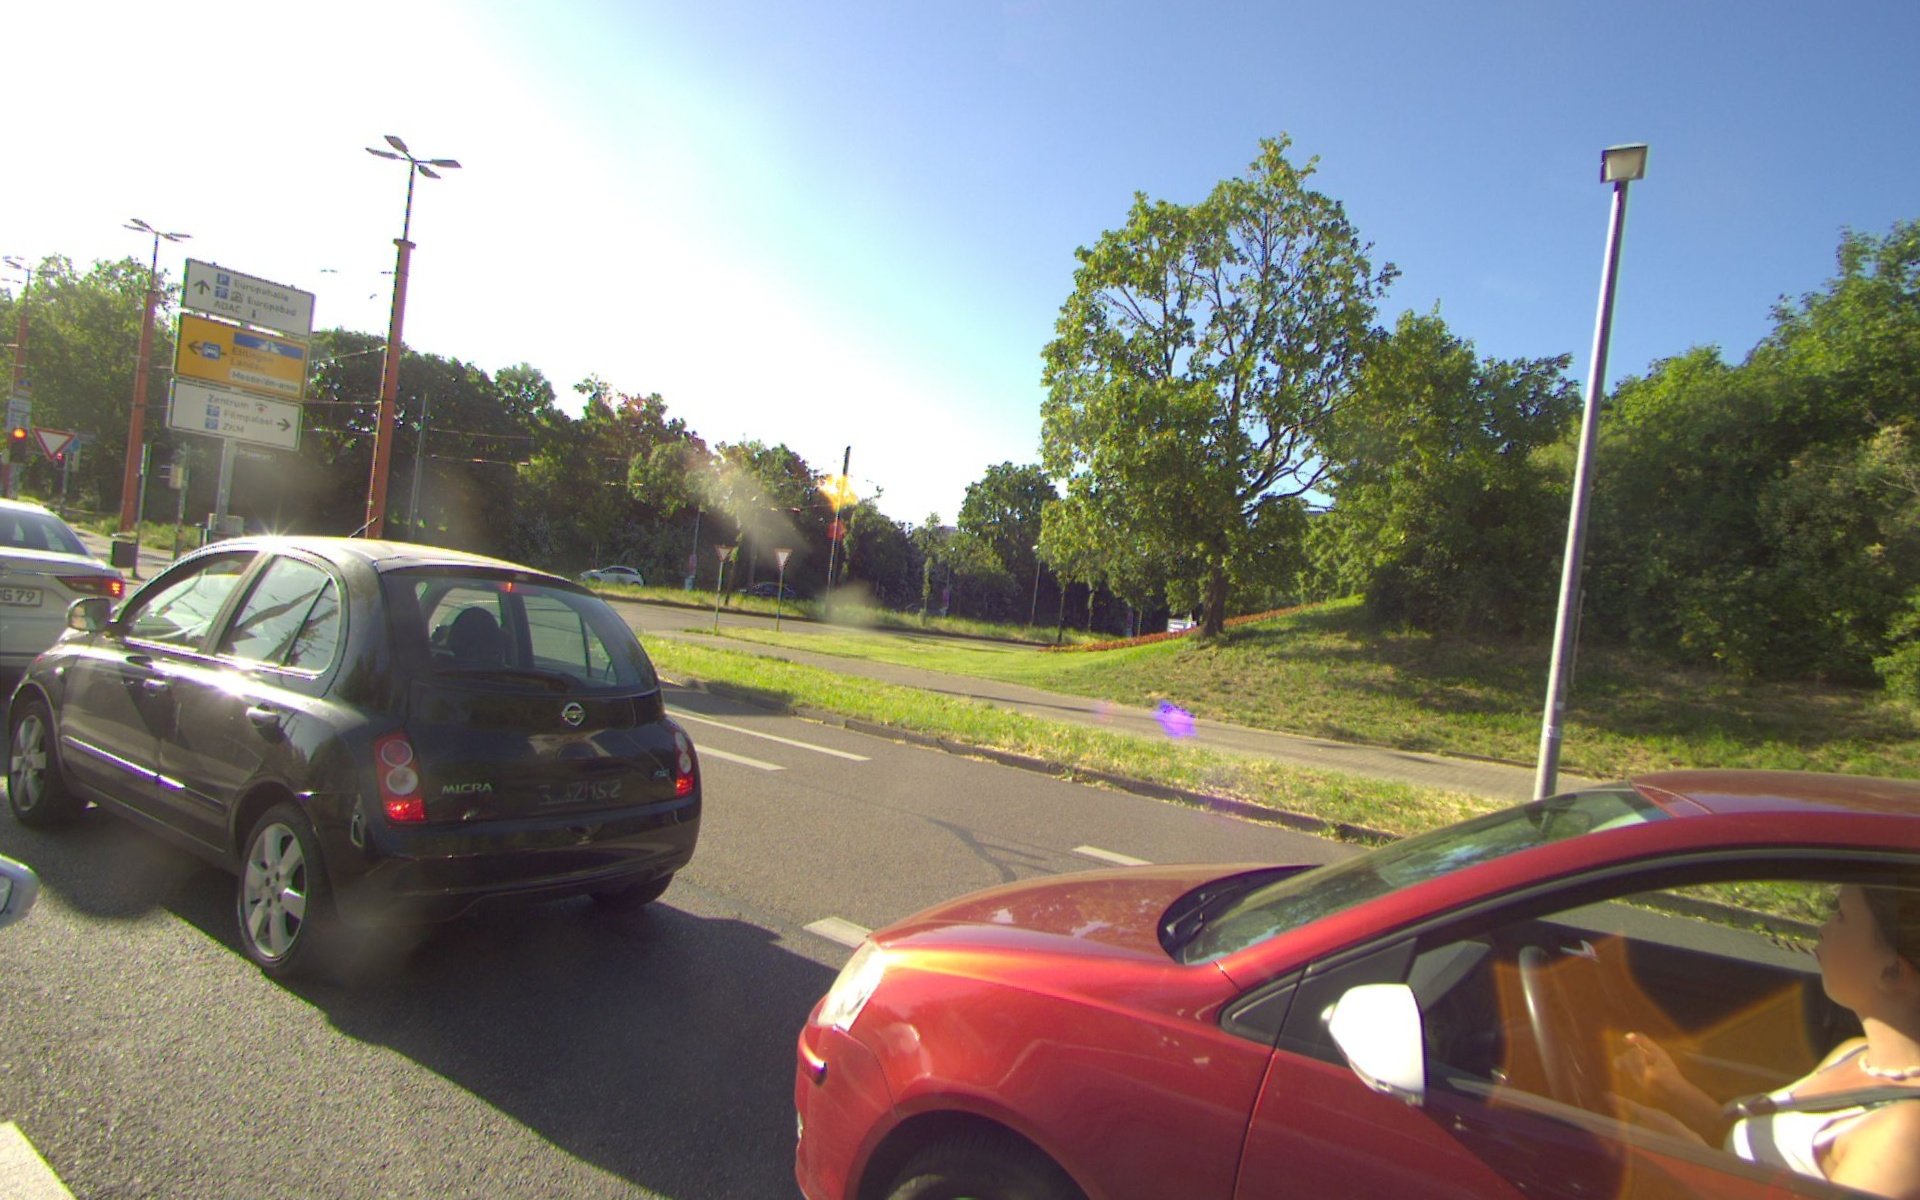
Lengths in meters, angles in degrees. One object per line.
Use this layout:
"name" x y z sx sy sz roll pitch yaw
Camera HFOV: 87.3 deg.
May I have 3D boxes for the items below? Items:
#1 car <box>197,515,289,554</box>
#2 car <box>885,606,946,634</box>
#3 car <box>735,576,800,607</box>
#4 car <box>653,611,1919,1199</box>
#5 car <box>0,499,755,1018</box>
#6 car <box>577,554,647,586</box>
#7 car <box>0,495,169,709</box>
"car" -38.429 -3.490 54.030 3.892 1.474 1.641 8 -1 -35
"car" -3.292 1.474 75.067 4.105 1.528 1.644 8 -1 -31
"car" -12.672 -0.552 66.264 3.764 1.528 1.644 8 -1 -31
"car" 1.334 1.001 1.865 3.629 1.477 1.579 6 -2 32
"car" -2.809 0.466 4.621 3.385 1.457 1.579 6 -2 32
"car" -22.204 -1.904 64.237 3.888 1.474 1.643 8 -1 -32
"car" -8.381 -0.176 8.076 4.256 1.457 1.802 6 -2 33
